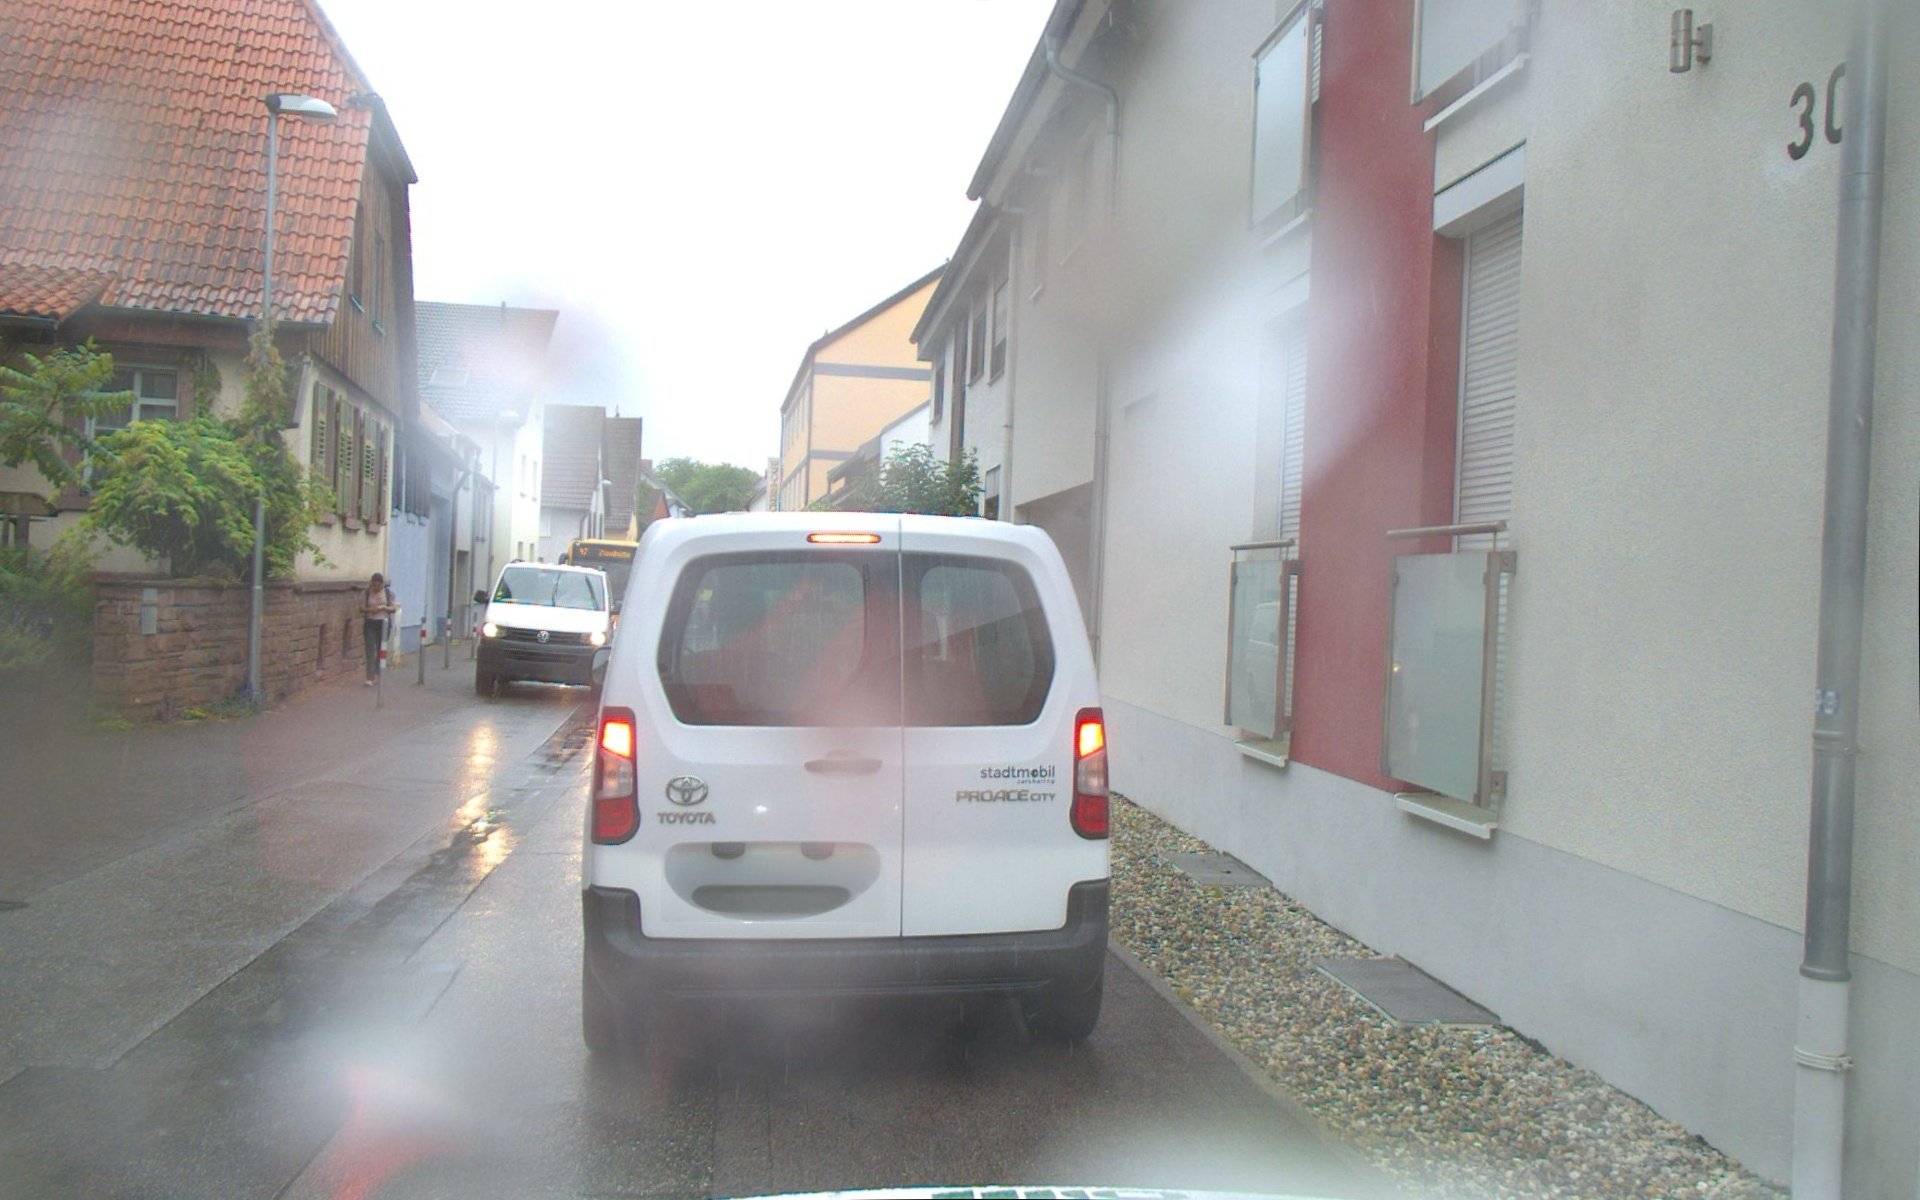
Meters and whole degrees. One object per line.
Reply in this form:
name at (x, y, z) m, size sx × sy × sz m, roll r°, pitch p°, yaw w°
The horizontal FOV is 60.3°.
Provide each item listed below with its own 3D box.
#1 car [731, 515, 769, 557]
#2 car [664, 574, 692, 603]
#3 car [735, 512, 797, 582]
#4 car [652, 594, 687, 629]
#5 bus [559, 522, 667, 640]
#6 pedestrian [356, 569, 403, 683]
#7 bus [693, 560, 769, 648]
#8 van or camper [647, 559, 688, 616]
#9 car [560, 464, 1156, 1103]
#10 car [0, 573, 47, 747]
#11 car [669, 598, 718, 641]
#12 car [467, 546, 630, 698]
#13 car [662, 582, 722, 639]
car at (-11.792, -3.573, 92.988) m, size 1.956 × 2.049 × 3.993 m, roll 4°, pitch -1°, yaw -7°
car at (-18.467, -0.749, 108.542) m, size 1.549 × 1.754 × 3.545 m, roll 4°, pitch -1°, yaw -7°
car at (-6.379, -1.693, 54.222) m, size 1.793 × 2.049 × 3.686 m, roll 4°, pitch -1°, yaw -9°
car at (-15.222, 0.609, 86.812) m, size 1.549 × 1.754 × 3.545 m, roll 4°, pitch -1°, yaw -7°
bus at (-11.240, -0.538, 54.293) m, size 2.742 × 3.387 × 8.161 m, roll 4°, pitch -1°, yaw -8°
pedestrian at (-8.061, 0.363, 22.975) m, size 0.558 × 1.557 × 0.566 m, roll 1°, pitch -1°, yaw -18°
bus at (-9.523, 0.178, 68.626) m, size 2.742 × 3.235 × 8.161 m, roll 4°, pitch -1°, yaw -8°
van or camper at (-16.274, -0.654, 92.247) m, size 1.800 × 2.976 × 5.354 m, roll 4°, pitch -1°, yaw -7°
car at (-0.579, 0.556, 6.963) m, size 1.761 × 1.850 × 4.093 m, roll 1°, pitch -1°, yaw -9°
car at (-9.462, 0.413, 13.134) m, size 3.460 × 1.400 × 1.592 m, roll 3°, pitch 0°, yaw -7°
car at (-9.517, 0.705, 59.242) m, size 1.532 × 1.395 × 3.578 m, roll 4°, pitch -1°, yaw -8°
car at (-6.169, 0.328, 25.301) m, size 1.857 × 2.001 × 4.713 m, roll 4°, pitch -1°, yaw -9°
car at (-7.771, 0.315, 48.167) m, size 1.532 × 1.506 × 3.578 m, roll 4°, pitch -1°, yaw -8°
